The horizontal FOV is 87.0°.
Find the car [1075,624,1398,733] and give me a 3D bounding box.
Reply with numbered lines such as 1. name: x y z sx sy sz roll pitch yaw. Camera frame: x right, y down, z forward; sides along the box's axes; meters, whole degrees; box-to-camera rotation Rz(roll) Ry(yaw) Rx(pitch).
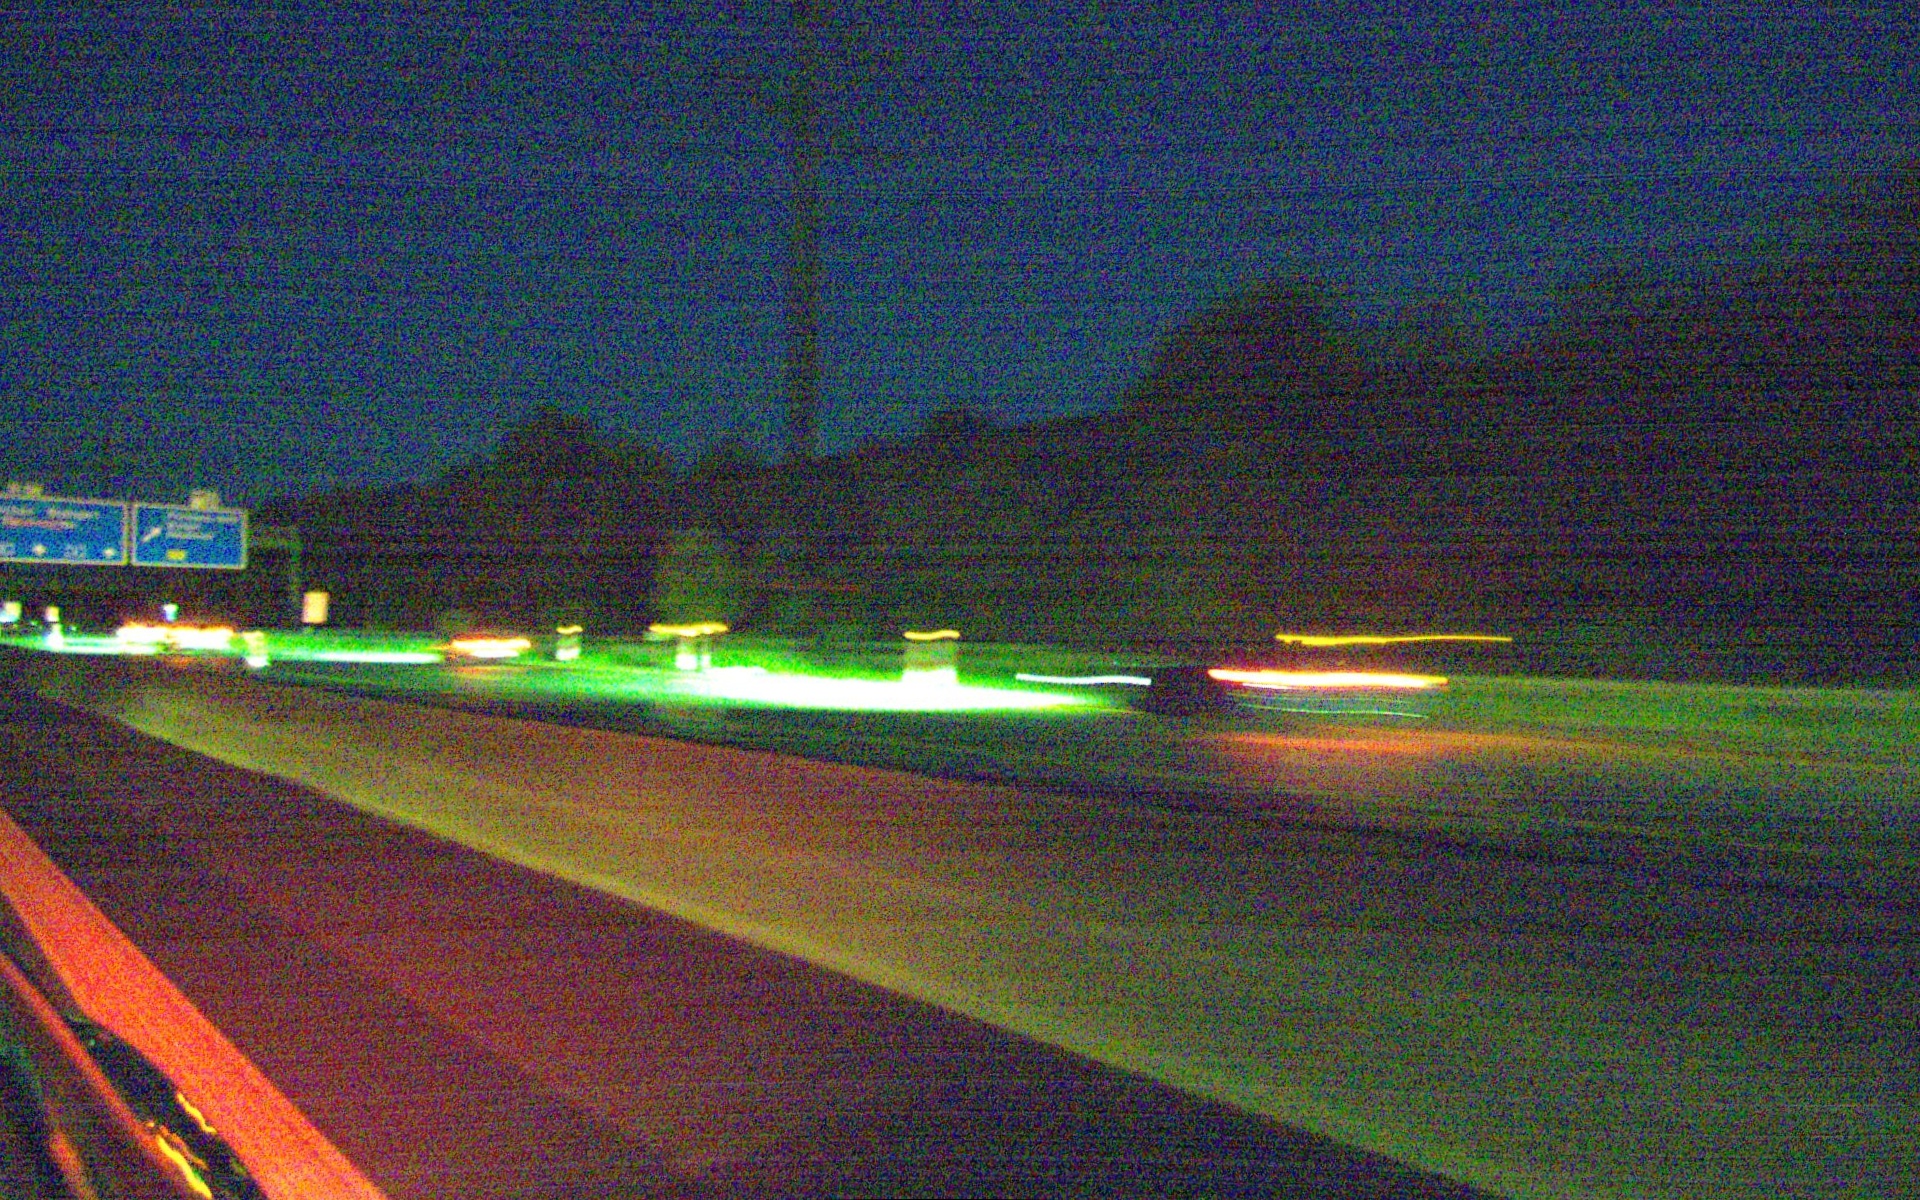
1. car: 4.241 1.150 16.126 4.726 1.490 1.731 -1 -3 44

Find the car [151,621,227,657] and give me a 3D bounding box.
1. car: -33.644 1.699 44.115 4.761 1.490 1.732 -1 -3 41

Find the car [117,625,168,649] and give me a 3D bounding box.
1. car: -54.141 2.431 66.971 4.940 1.490 1.732 -1 -3 41

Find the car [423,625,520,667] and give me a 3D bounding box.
1. car: -18.485 1.700 38.229 4.480 1.490 1.731 -1 -3 42
